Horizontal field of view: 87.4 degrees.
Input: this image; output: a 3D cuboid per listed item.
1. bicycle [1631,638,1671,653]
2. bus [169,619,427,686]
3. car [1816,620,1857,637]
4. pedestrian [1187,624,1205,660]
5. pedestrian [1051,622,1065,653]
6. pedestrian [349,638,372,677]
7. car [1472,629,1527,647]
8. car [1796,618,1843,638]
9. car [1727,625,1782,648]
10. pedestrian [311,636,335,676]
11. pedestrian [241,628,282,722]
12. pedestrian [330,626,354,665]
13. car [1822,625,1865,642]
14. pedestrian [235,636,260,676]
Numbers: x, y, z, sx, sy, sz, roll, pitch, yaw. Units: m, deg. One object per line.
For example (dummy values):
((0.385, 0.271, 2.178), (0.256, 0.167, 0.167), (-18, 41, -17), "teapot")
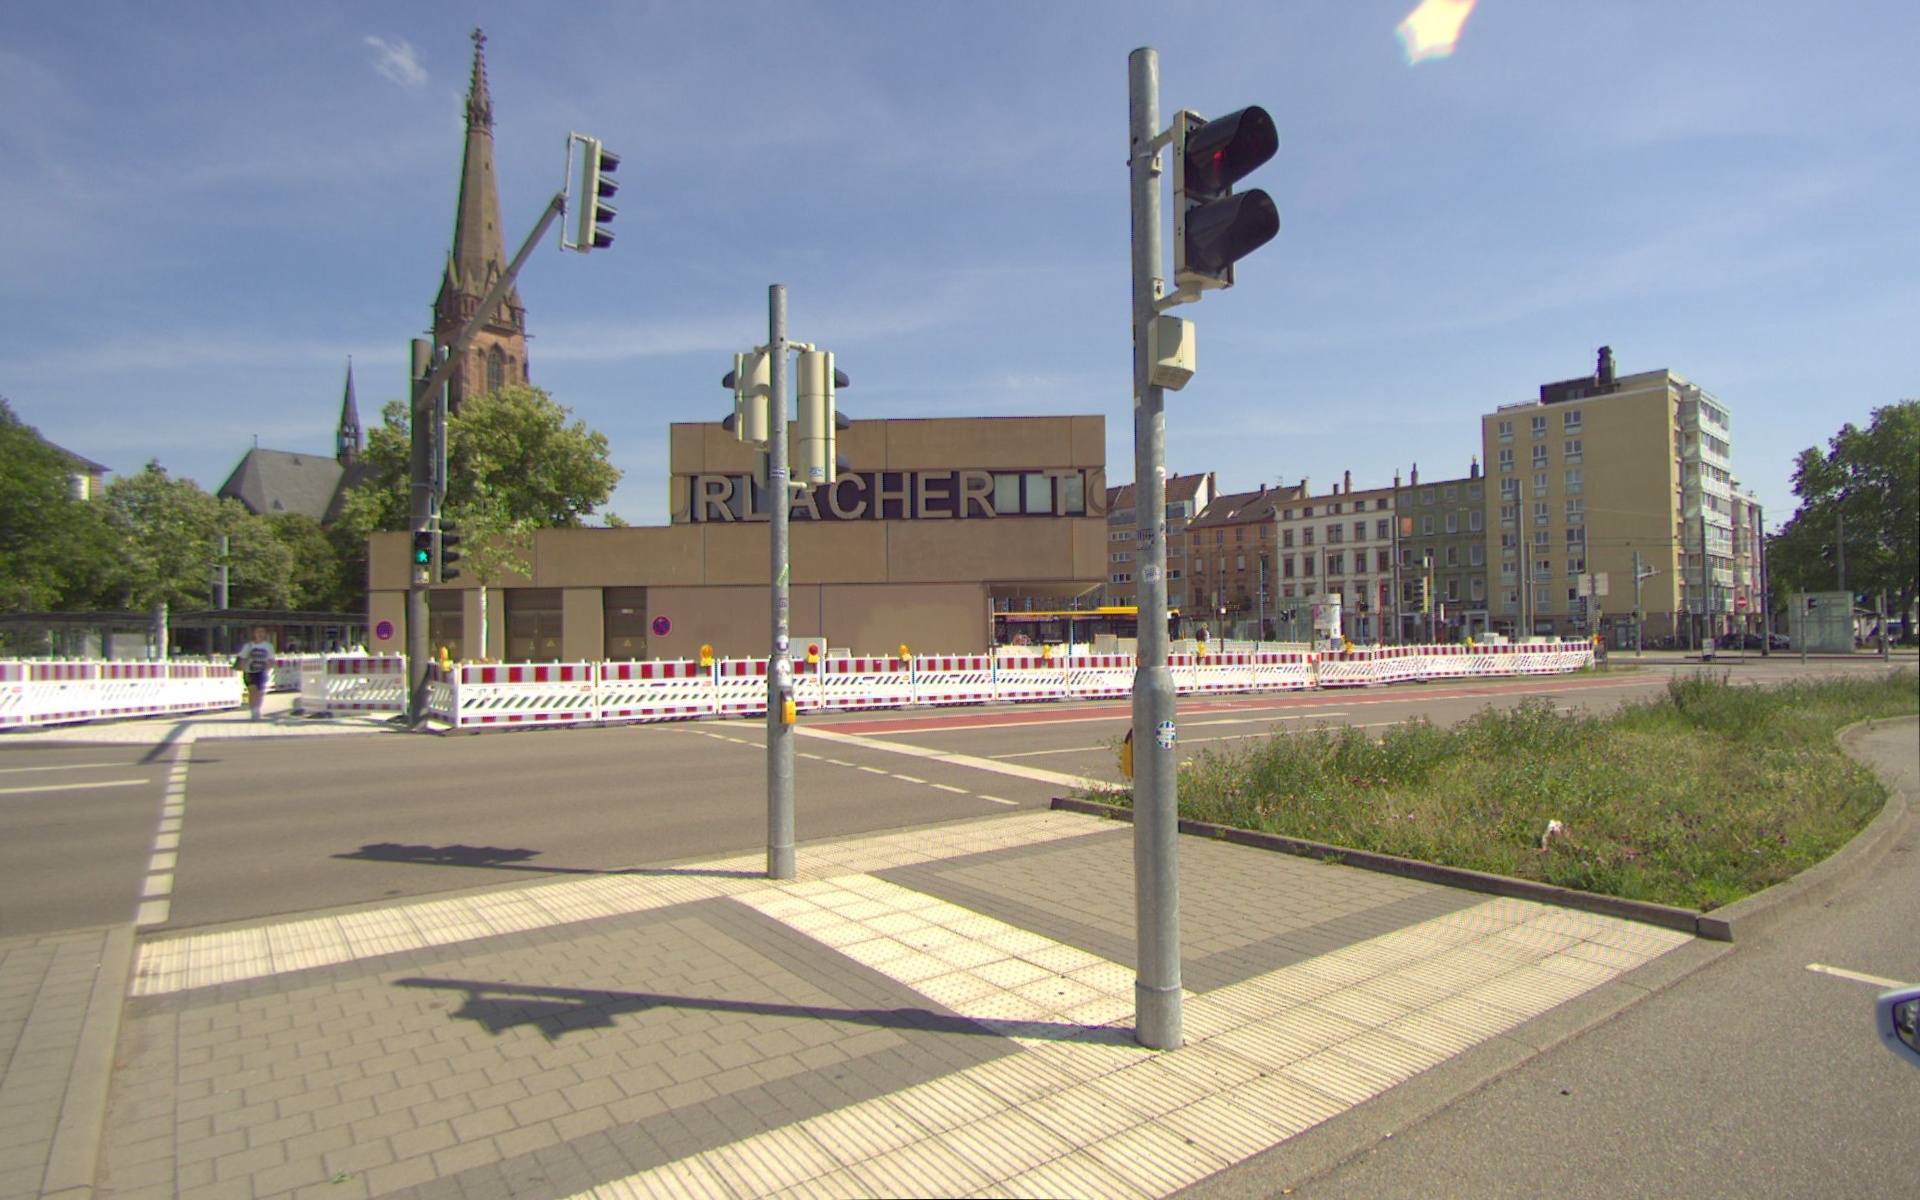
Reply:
((60.715, 4.018, 88.251), (2.785, 1.238, 0.987), (-3, -1, 44), "bicycle")
((-36.440, 2.858, 55.587), (12.168, 3.135, 3.134), (-2, 0, 1), "bus")
((113.734, 3.687, 130.417), (3.943, 2.040, 1.989), (-3, -1, 42), "car")
((11.298, 2.001, 48.074), (0.638, 1.683, 0.649), (0, -2, -8), "pedestrian")
((5.279, 2.017, 54.126), (0.637, 1.683, 0.650), (0, -2, 1), "pedestrian")
((-31.434, 3.003, 52.696), (0.672, 2.040, 0.821), (-1, -2, 7), "pedestrian")
((48.075, 3.394, 89.561), (3.919, 1.530, 1.801), (-1, -2, 11), "car")
((96.007, 3.159, 112.214), (3.943, 2.040, 1.989), (-3, -1, 42), "car")
((75.121, 3.502, 94.977), (3.943, 2.040, 1.989), (-3, -1, 42), "car")
((-33.300, 2.928, 52.489), (0.672, 2.040, 0.821), (-1, -2, 7), "pedestrian")
((-12.112, 1.286, 17.419), (0.553, 1.585, 0.419), (1, -3, -36), "pedestrian")
((-32.349, 2.379, 52.584), (0.672, 2.040, 0.821), (-1, -2, 7), "pedestrian")
((111.016, 4.239, 126.284), (3.943, 2.040, 1.989), (-3, -1, 42), "car")
((-37.116, 2.920, 52.302), (0.673, 2.040, 0.821), (-1, -2, 3), "pedestrian")
